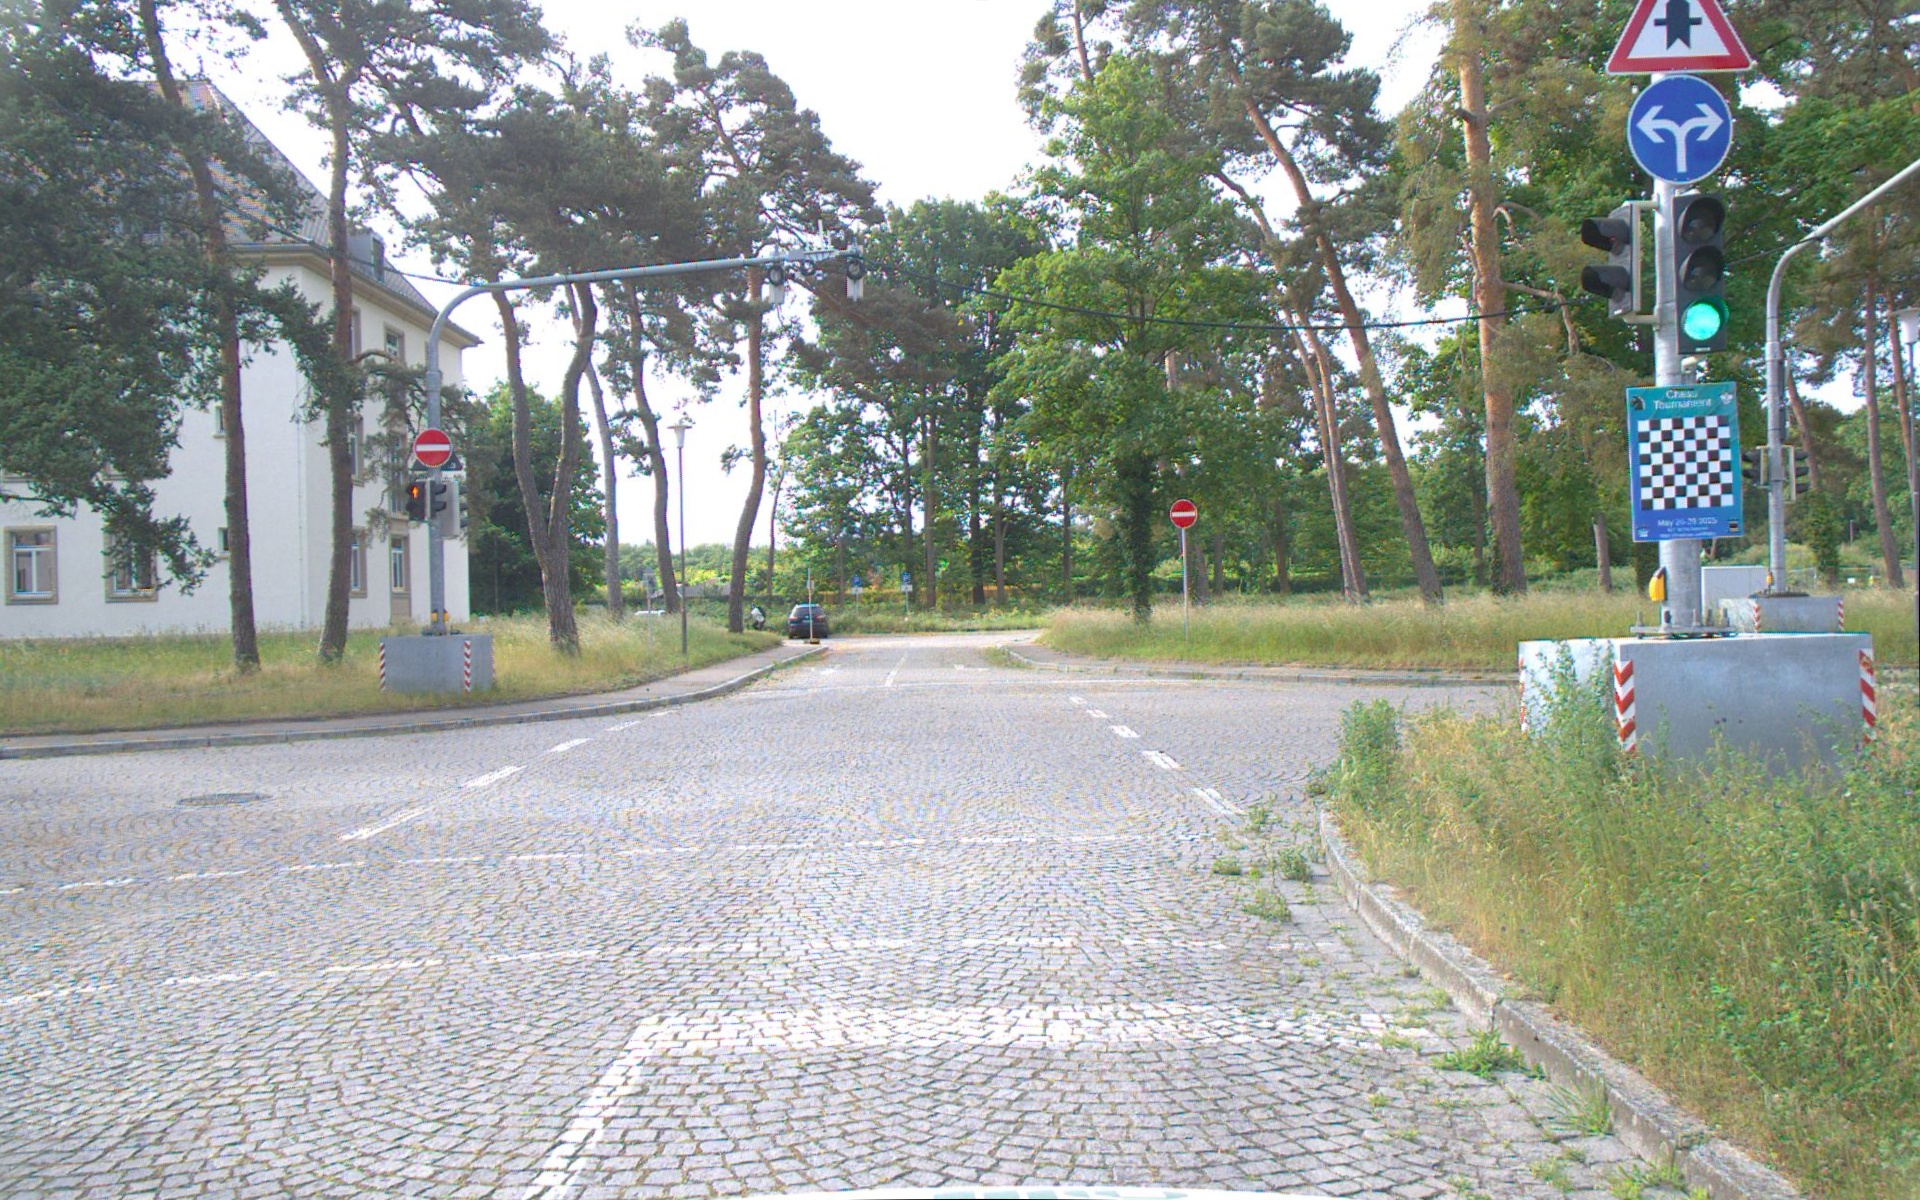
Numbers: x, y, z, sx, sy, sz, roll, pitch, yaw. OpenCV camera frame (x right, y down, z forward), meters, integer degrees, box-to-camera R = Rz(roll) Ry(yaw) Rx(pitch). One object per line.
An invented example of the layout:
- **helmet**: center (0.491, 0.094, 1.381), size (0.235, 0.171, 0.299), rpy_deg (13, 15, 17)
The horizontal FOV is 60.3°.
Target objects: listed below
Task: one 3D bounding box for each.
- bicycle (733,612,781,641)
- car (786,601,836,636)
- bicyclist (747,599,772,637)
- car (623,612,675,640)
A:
- **bicycle**: center (-8.513, 1.107, 69.447), size (1.948, 1.114, 0.809), rpy_deg (-2, 0, -5)
- **car**: center (-6.886, 0.844, 76.942), size (1.953, 1.534, 4.000), rpy_deg (0, 0, 0)
- **bicyclist**: center (-8.411, 0.747, 69.472), size (0.955, 1.537, 0.807), rpy_deg (-2, 0, -4)
- **car**: center (-14.627, 1.200, 77.969), size (1.654, 1.176, 4.000), rpy_deg (-2, 0, 0)
